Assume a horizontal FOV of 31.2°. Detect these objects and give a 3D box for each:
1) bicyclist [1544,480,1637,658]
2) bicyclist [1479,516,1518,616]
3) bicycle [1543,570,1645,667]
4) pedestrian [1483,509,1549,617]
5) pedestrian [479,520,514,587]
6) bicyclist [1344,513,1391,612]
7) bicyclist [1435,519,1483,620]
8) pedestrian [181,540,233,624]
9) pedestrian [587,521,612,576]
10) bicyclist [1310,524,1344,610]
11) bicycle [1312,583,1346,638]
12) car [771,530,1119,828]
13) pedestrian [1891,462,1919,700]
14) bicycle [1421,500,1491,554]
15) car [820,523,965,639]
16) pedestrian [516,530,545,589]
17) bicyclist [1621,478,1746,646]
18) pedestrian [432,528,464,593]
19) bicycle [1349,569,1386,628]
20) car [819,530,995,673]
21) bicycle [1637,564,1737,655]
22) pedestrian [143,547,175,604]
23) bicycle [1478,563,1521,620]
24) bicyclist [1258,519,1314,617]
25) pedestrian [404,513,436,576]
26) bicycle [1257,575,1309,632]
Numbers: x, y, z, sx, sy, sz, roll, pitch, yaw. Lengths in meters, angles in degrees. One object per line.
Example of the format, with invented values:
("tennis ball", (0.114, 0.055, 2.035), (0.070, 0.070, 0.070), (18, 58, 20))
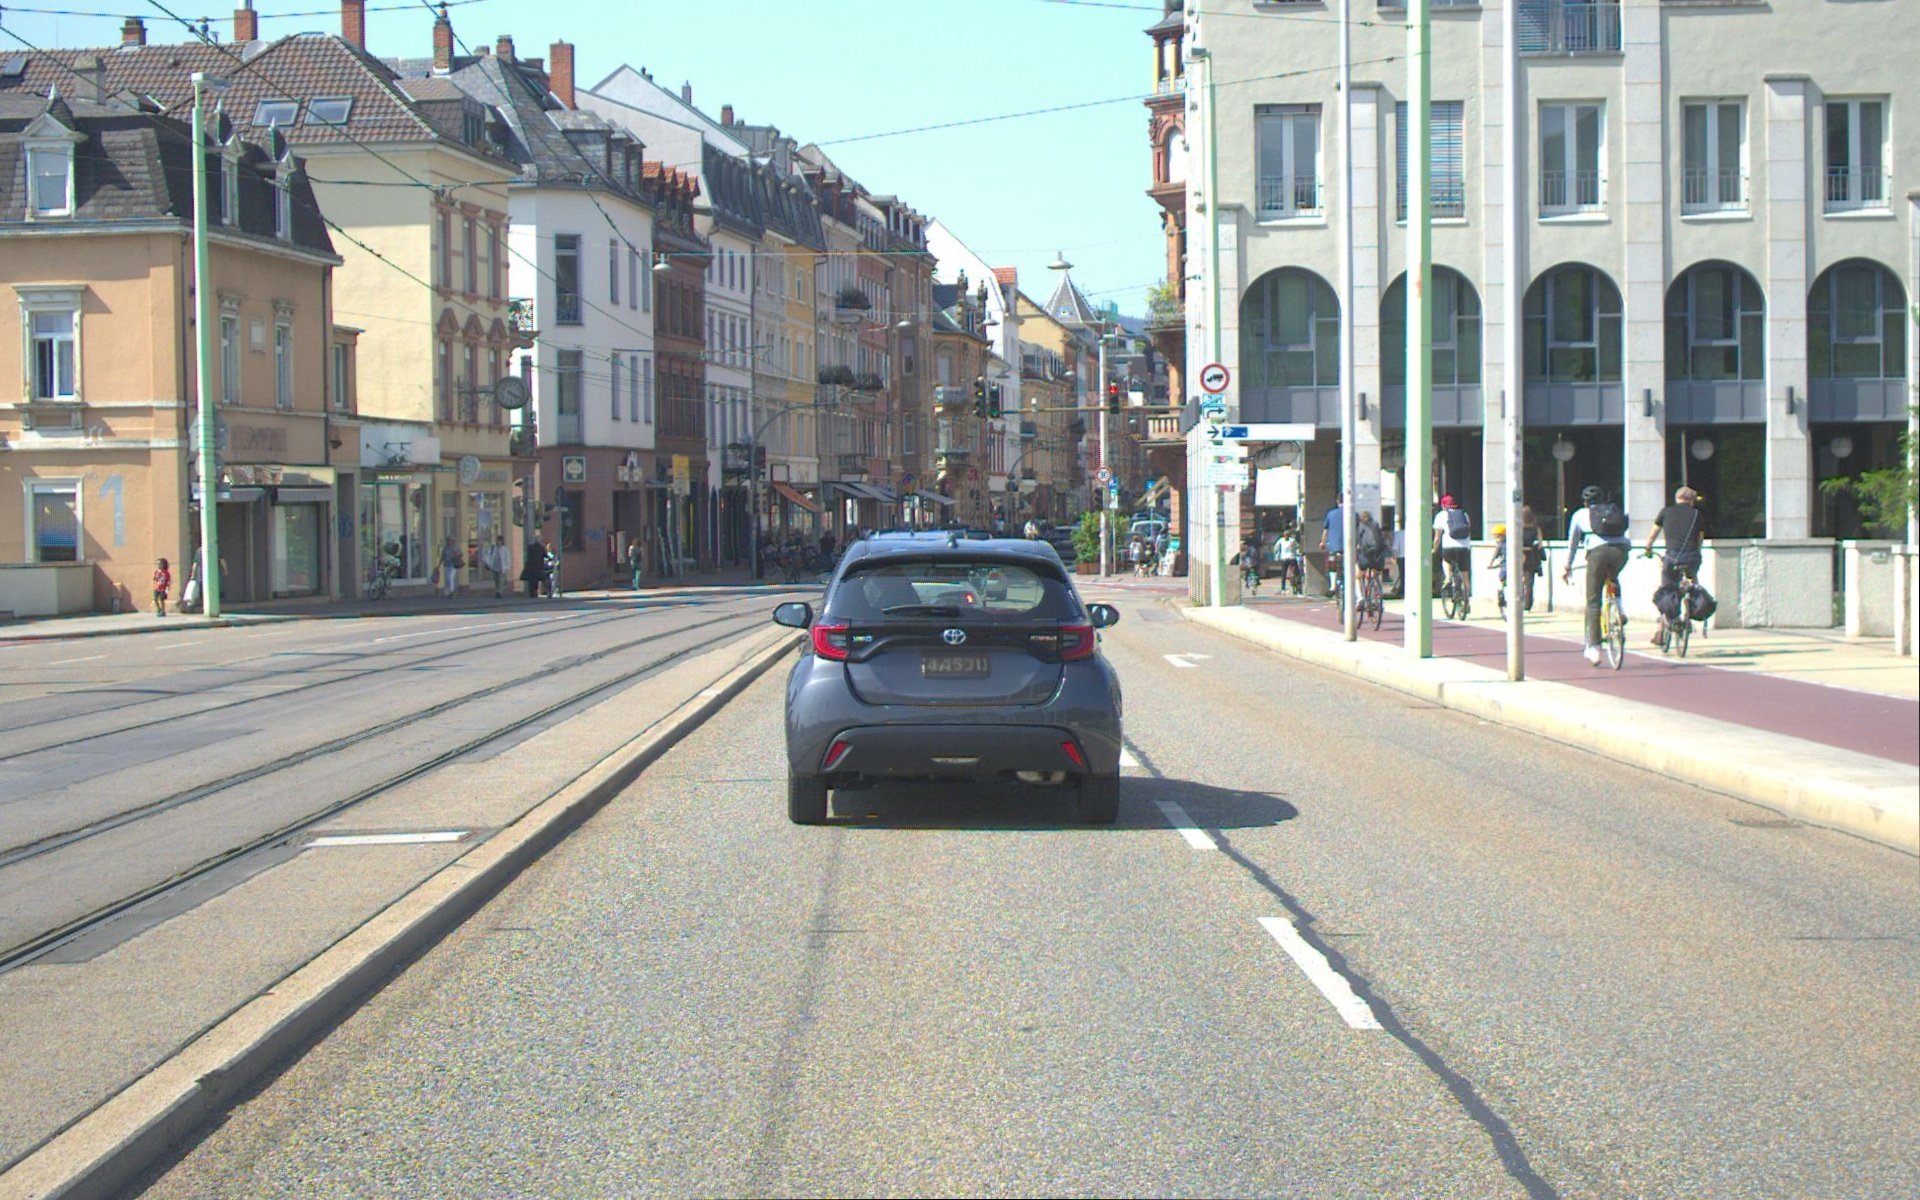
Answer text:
("bicyclist", (6.110, -0.303, 33.351), (0.701, 1.689, 0.924), (-1, 1, 0))
("bicyclist", (7.539, -0.483, 48.131), (0.422, 1.378, 0.443), (-2, 1, 0))
("bicycle", (6.128, 0.169, 33.298), (0.704, 0.879, 1.525), (-2, 1, 0))
("pedestrian", (8.653, -0.580, 53.496), (0.739, 1.609, 1.016), (4, 1, -1))
("pedestrian", (-12.632, -1.273, 93.656), (0.736, 1.760, 0.787), (4, 1, 0))
("bicyclist", (5.540, -0.512, 46.766), (0.538, 1.312, 0.672), (-3, 1, 3))
("bicyclist", (7.334, -0.454, 50.547), (0.484, 1.461, 0.443), (-3, 1, -39))
("pedestrian", (-15.283, -0.366, 69.763), (0.762, 1.648, 0.711), (4, 1, 5))
("pedestrian", (-11.677, -1.662, 111.374), (0.736, 1.760, 0.787), (0, 2, 0))
("bicyclist", (5.404, -0.489, 50.581), (0.422, 1.252, 0.443), (-2, 1, 3))
("bicycle", (5.427, 0.154, 50.541), (0.416, 0.763, 0.962), (-2, 1, 3))
("car", (-0.097, 0.360, 19.016), (1.720, 1.468, 3.658), (1, 1, -1))
("pedestrian", (7.582, -0.158, 25.987), (0.739, 1.796, 1.016), (-2, 1, -1))
("bicycle", (7.291, -1.075, 50.559), (0.416, 0.763, 0.961), (-3, 1, -39))
("car", (-0.921, -0.291, 47.599), (1.897, 1.525, 4.000), (1, 1, -1))
("pedestrian", (-12.075, -1.130, 96.657), (0.649, 1.596, 0.566), (4, 3, 0))
("bicyclist", (7.483, -0.399, 35.605), (1.139, 1.689, 0.924), (-1, 1, 6))
("pedestrian", (-13.214, -1.020, 88.803), (0.649, 1.596, 0.566), (4, 3, 0))
("bicycle", (5.545, -0.023, 46.795), (0.416, 0.763, 1.205), (-2, 1, 4))
("car", (-0.602, -0.025, 39.413), (1.897, 1.525, 4.000), (1, 1, -1))
("bicycle", (7.504, 0.086, 35.539), (0.798, 0.879, 1.828), (-1, 1, 6))
("pedestrian", (-16.274, -0.498, 69.845), (0.412, 1.142, 0.544), (4, 1, 8))
("bicycle", (7.546, -0.124, 48.106), (0.416, 0.763, 0.962), (-2, 1, 0))
("bicyclist", (8.708, -0.856, 91.828), (1.228, 2.520, 1.105), (4, 1, -1))
("pedestrian", (-14.335, -1.481, 91.258), (0.649, 1.596, 0.566), (4, 3, 0))
("bicycle", (8.619, 0.074, 91.781), (1.112, 1.415, 3.007), (2, 1, 1))
